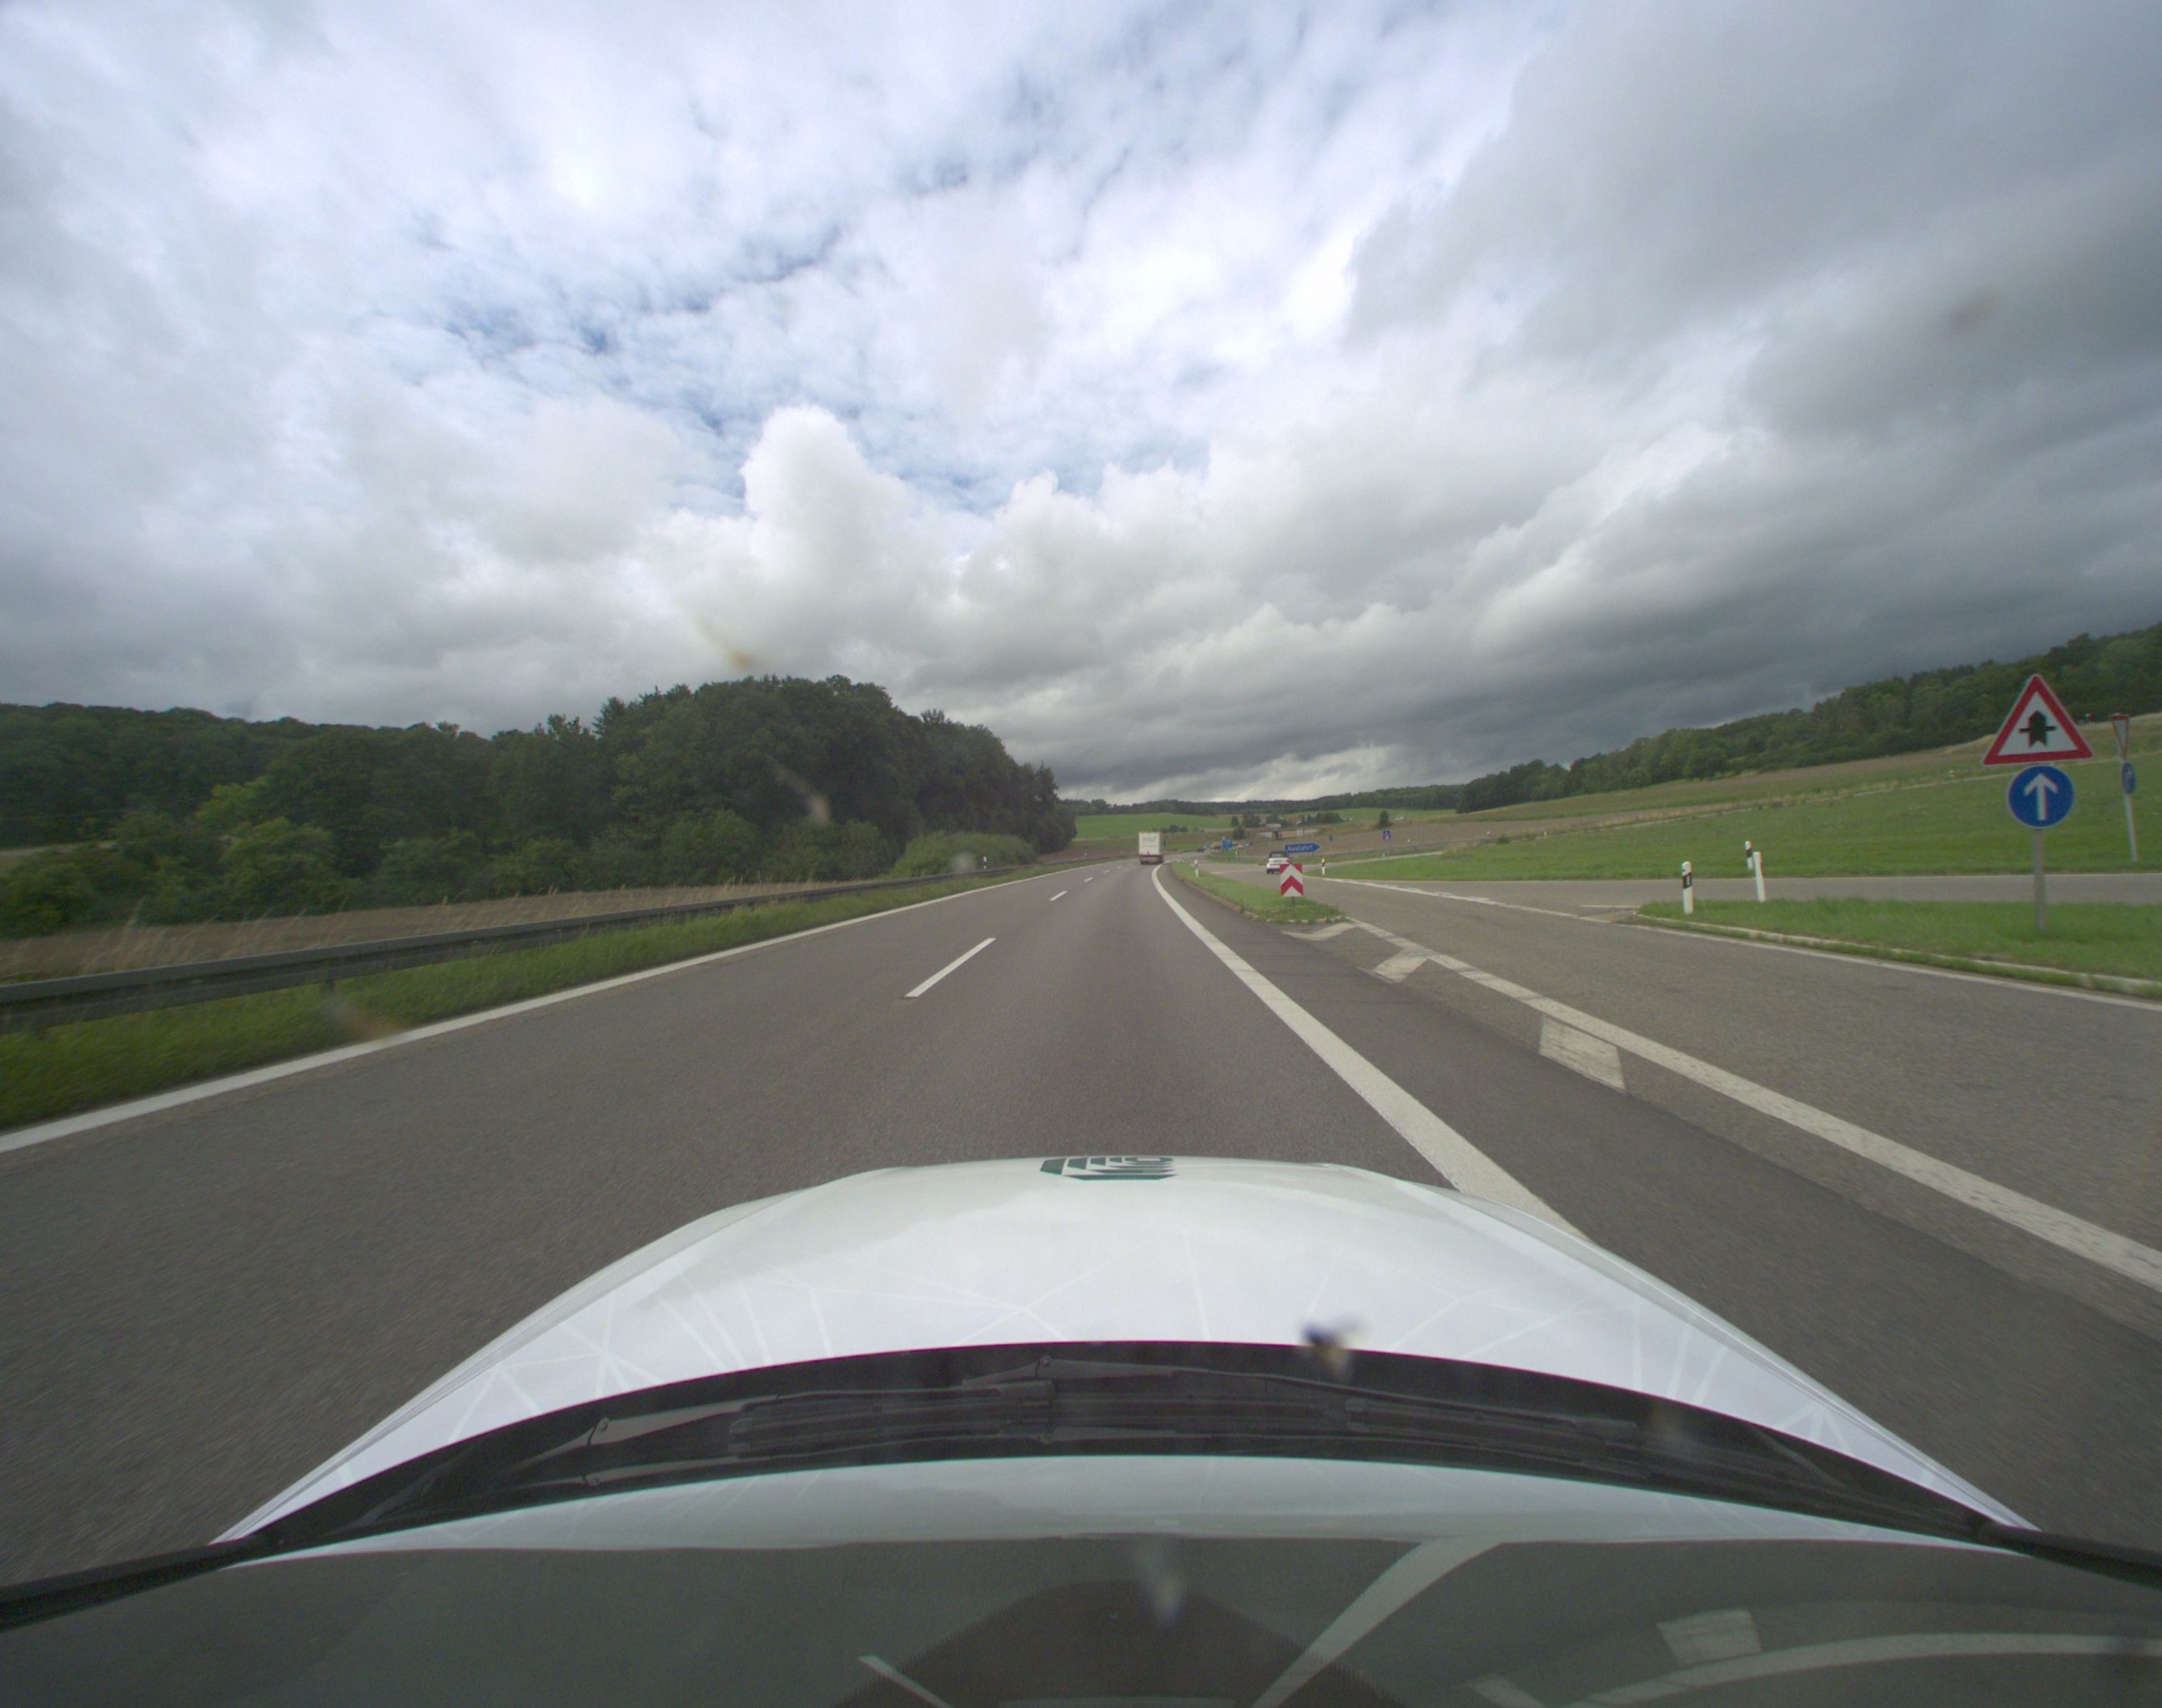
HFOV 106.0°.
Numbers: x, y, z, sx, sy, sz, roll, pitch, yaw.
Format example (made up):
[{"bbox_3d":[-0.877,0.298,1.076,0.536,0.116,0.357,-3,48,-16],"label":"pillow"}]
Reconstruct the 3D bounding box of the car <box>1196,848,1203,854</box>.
[{"bbox_3d":[37.282,-0.906,255.674,1.891,1.795,4.011,-1,-2,10],"label":"car"}]

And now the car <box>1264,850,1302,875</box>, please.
[{"bbox_3d":[13.939,0.538,56.030,1.761,1.552,4.023,-2,0,24],"label":"car"}]

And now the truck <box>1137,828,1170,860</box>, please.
[{"bbox_3d":[9.931,-1.274,110.588,3.764,4.131,8.288,1,0,10],"label":"truck"}]

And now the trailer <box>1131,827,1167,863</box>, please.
[{"bbox_3d":[8.838,-1.182,103.713,3.785,4.174,14.841,-1,1,8],"label":"trailer"}]
